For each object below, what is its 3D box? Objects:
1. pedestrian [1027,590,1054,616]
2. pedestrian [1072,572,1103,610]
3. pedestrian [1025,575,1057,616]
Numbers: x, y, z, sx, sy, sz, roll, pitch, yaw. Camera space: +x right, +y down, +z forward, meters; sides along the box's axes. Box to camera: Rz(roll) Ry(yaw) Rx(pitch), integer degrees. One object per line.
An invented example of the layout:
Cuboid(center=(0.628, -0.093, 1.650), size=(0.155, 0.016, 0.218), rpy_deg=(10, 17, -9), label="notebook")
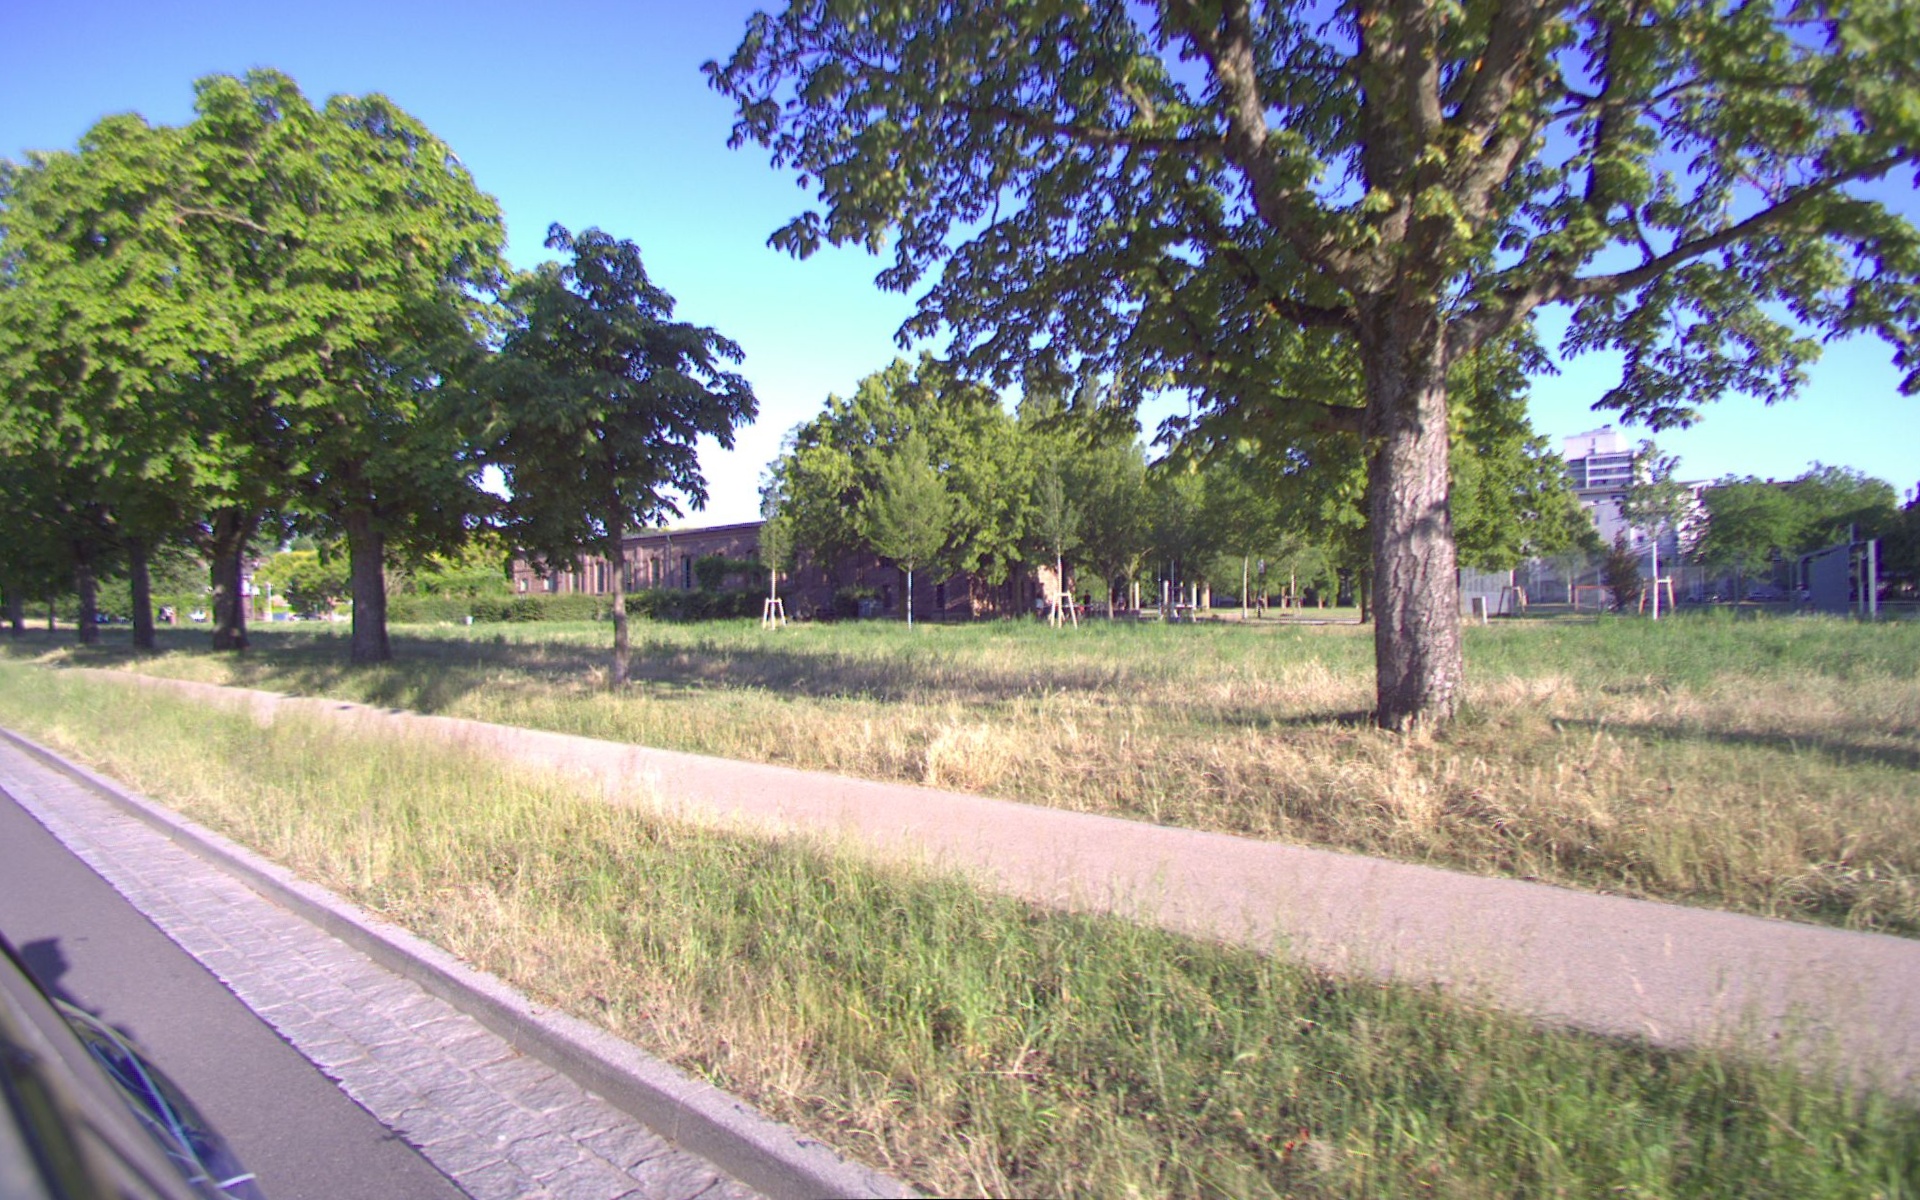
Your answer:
Cuboid(center=(4.188, 0.156, 52.687), size=(0.980, 1.304, 1.104), rpy_deg=(-2, 0, 32), label="pedestrian")
Cuboid(center=(6.357, -0.458, 50.497), size=(1.099, 1.877, 0.984), rpy_deg=(-2, 0, -43), label="pedestrian")
Cuboid(center=(3.852, -0.223, 48.127), size=(1.099, 1.877, 0.984), rpy_deg=(-2, 0, -43), label="pedestrian")
